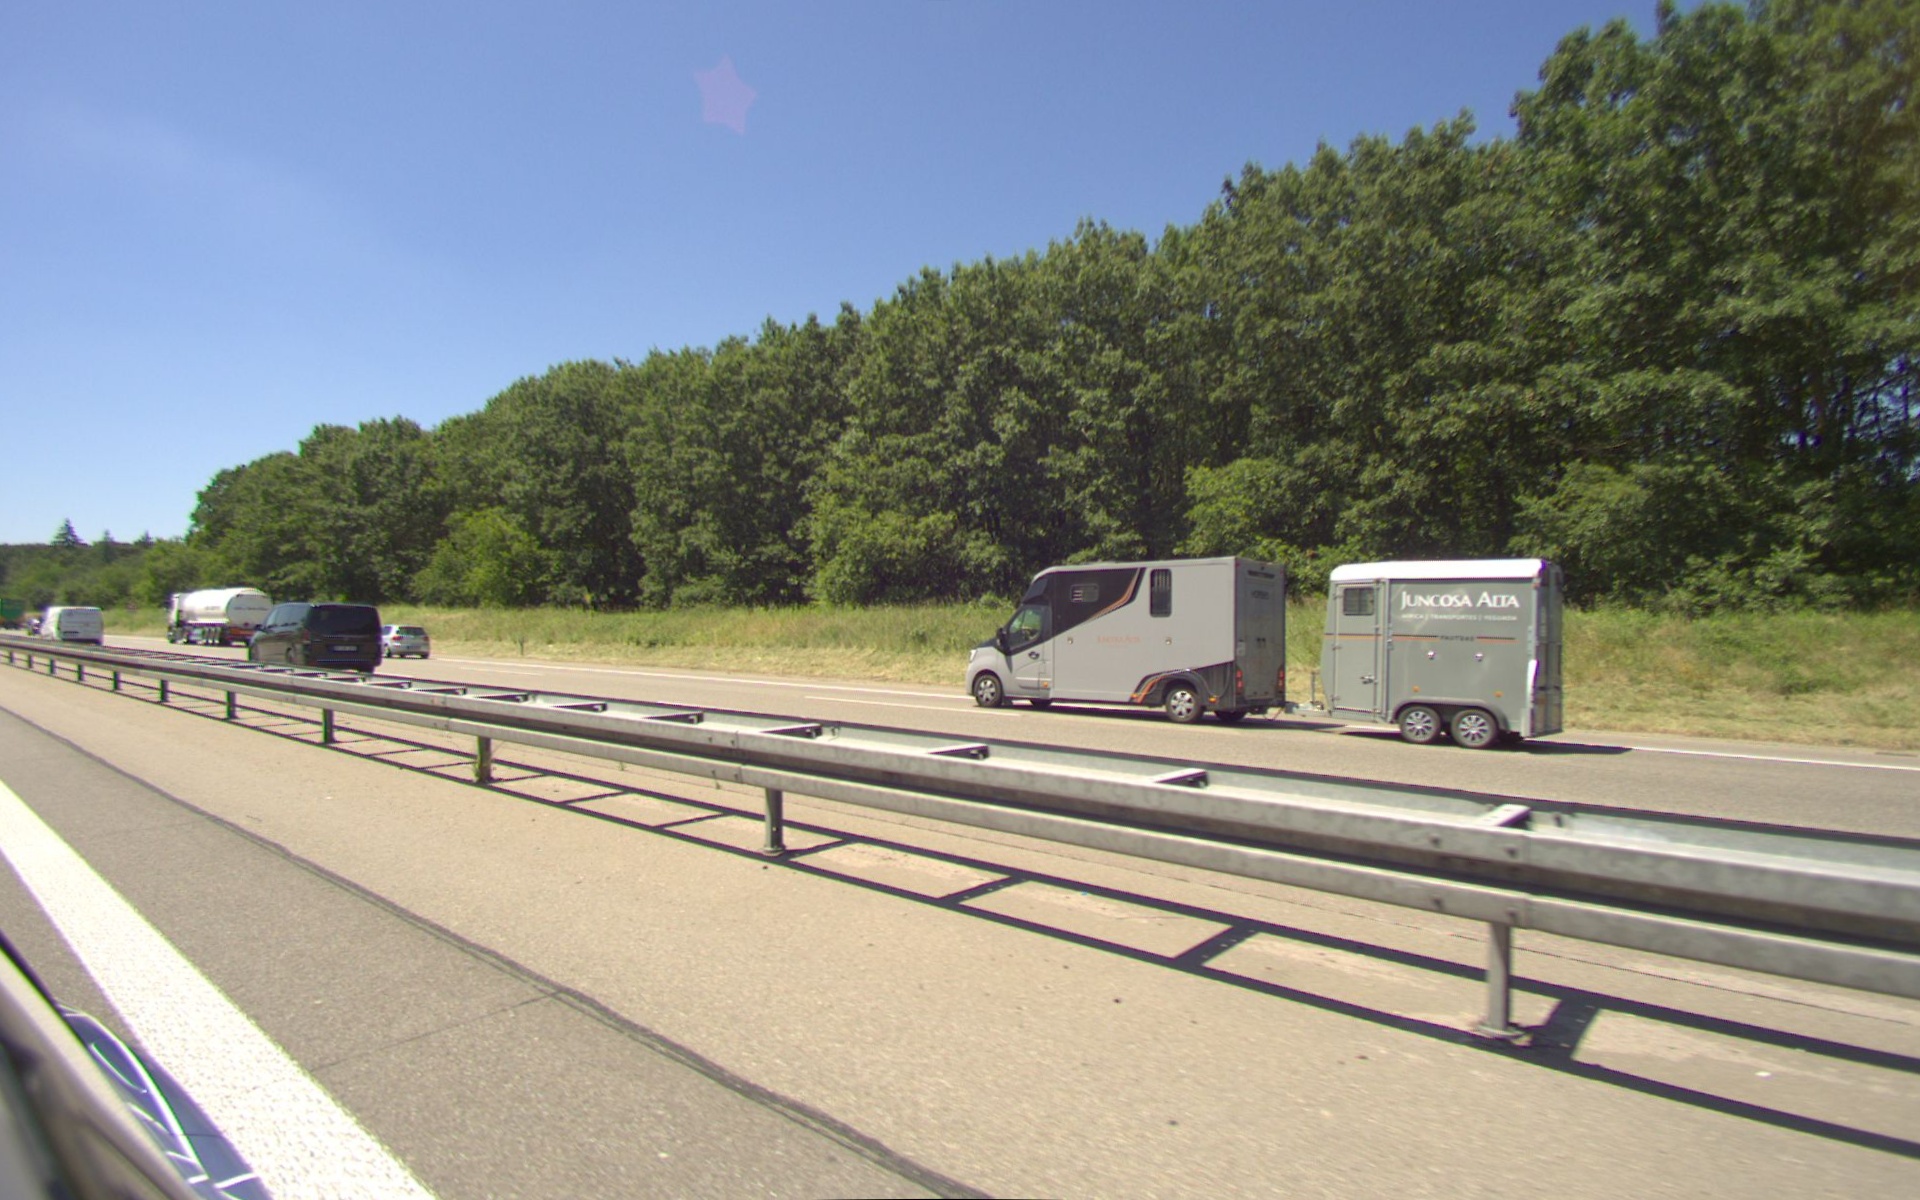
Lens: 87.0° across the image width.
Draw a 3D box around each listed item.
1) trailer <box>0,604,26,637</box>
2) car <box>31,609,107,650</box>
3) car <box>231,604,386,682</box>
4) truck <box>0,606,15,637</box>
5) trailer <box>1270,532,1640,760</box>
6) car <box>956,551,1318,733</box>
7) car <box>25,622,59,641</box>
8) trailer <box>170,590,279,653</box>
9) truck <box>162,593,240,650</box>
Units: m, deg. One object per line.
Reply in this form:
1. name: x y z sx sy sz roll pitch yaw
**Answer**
1. trailer: -129.641 2.845 137.294 14.331 4.193 2.676 -1 -4 41
2. car: -44.835 1.479 50.886 5.738 1.962 1.975 -1 -4 40
3. car: -17.331 1.110 26.778 5.831 1.862 1.856 -1 -4 41
4. truck: -134.678 2.943 141.713 6.293 4.193 2.672 -1 -4 41
5. trailer: 7.289 0.662 15.168 4.582 2.880 2.190 -1 -4 41
6. car: 3.092 0.759 18.910 6.450 2.880 2.190 -1 -4 41
7. car: -76.679 2.632 84.545 3.935 1.484 1.615 -1 -4 41
8. trailer: -44.659 1.327 61.222 11.794 3.460 2.654 -1 -4 41
9. truck: -48.530 1.411 64.640 6.141 3.460 2.654 -1 -4 41
